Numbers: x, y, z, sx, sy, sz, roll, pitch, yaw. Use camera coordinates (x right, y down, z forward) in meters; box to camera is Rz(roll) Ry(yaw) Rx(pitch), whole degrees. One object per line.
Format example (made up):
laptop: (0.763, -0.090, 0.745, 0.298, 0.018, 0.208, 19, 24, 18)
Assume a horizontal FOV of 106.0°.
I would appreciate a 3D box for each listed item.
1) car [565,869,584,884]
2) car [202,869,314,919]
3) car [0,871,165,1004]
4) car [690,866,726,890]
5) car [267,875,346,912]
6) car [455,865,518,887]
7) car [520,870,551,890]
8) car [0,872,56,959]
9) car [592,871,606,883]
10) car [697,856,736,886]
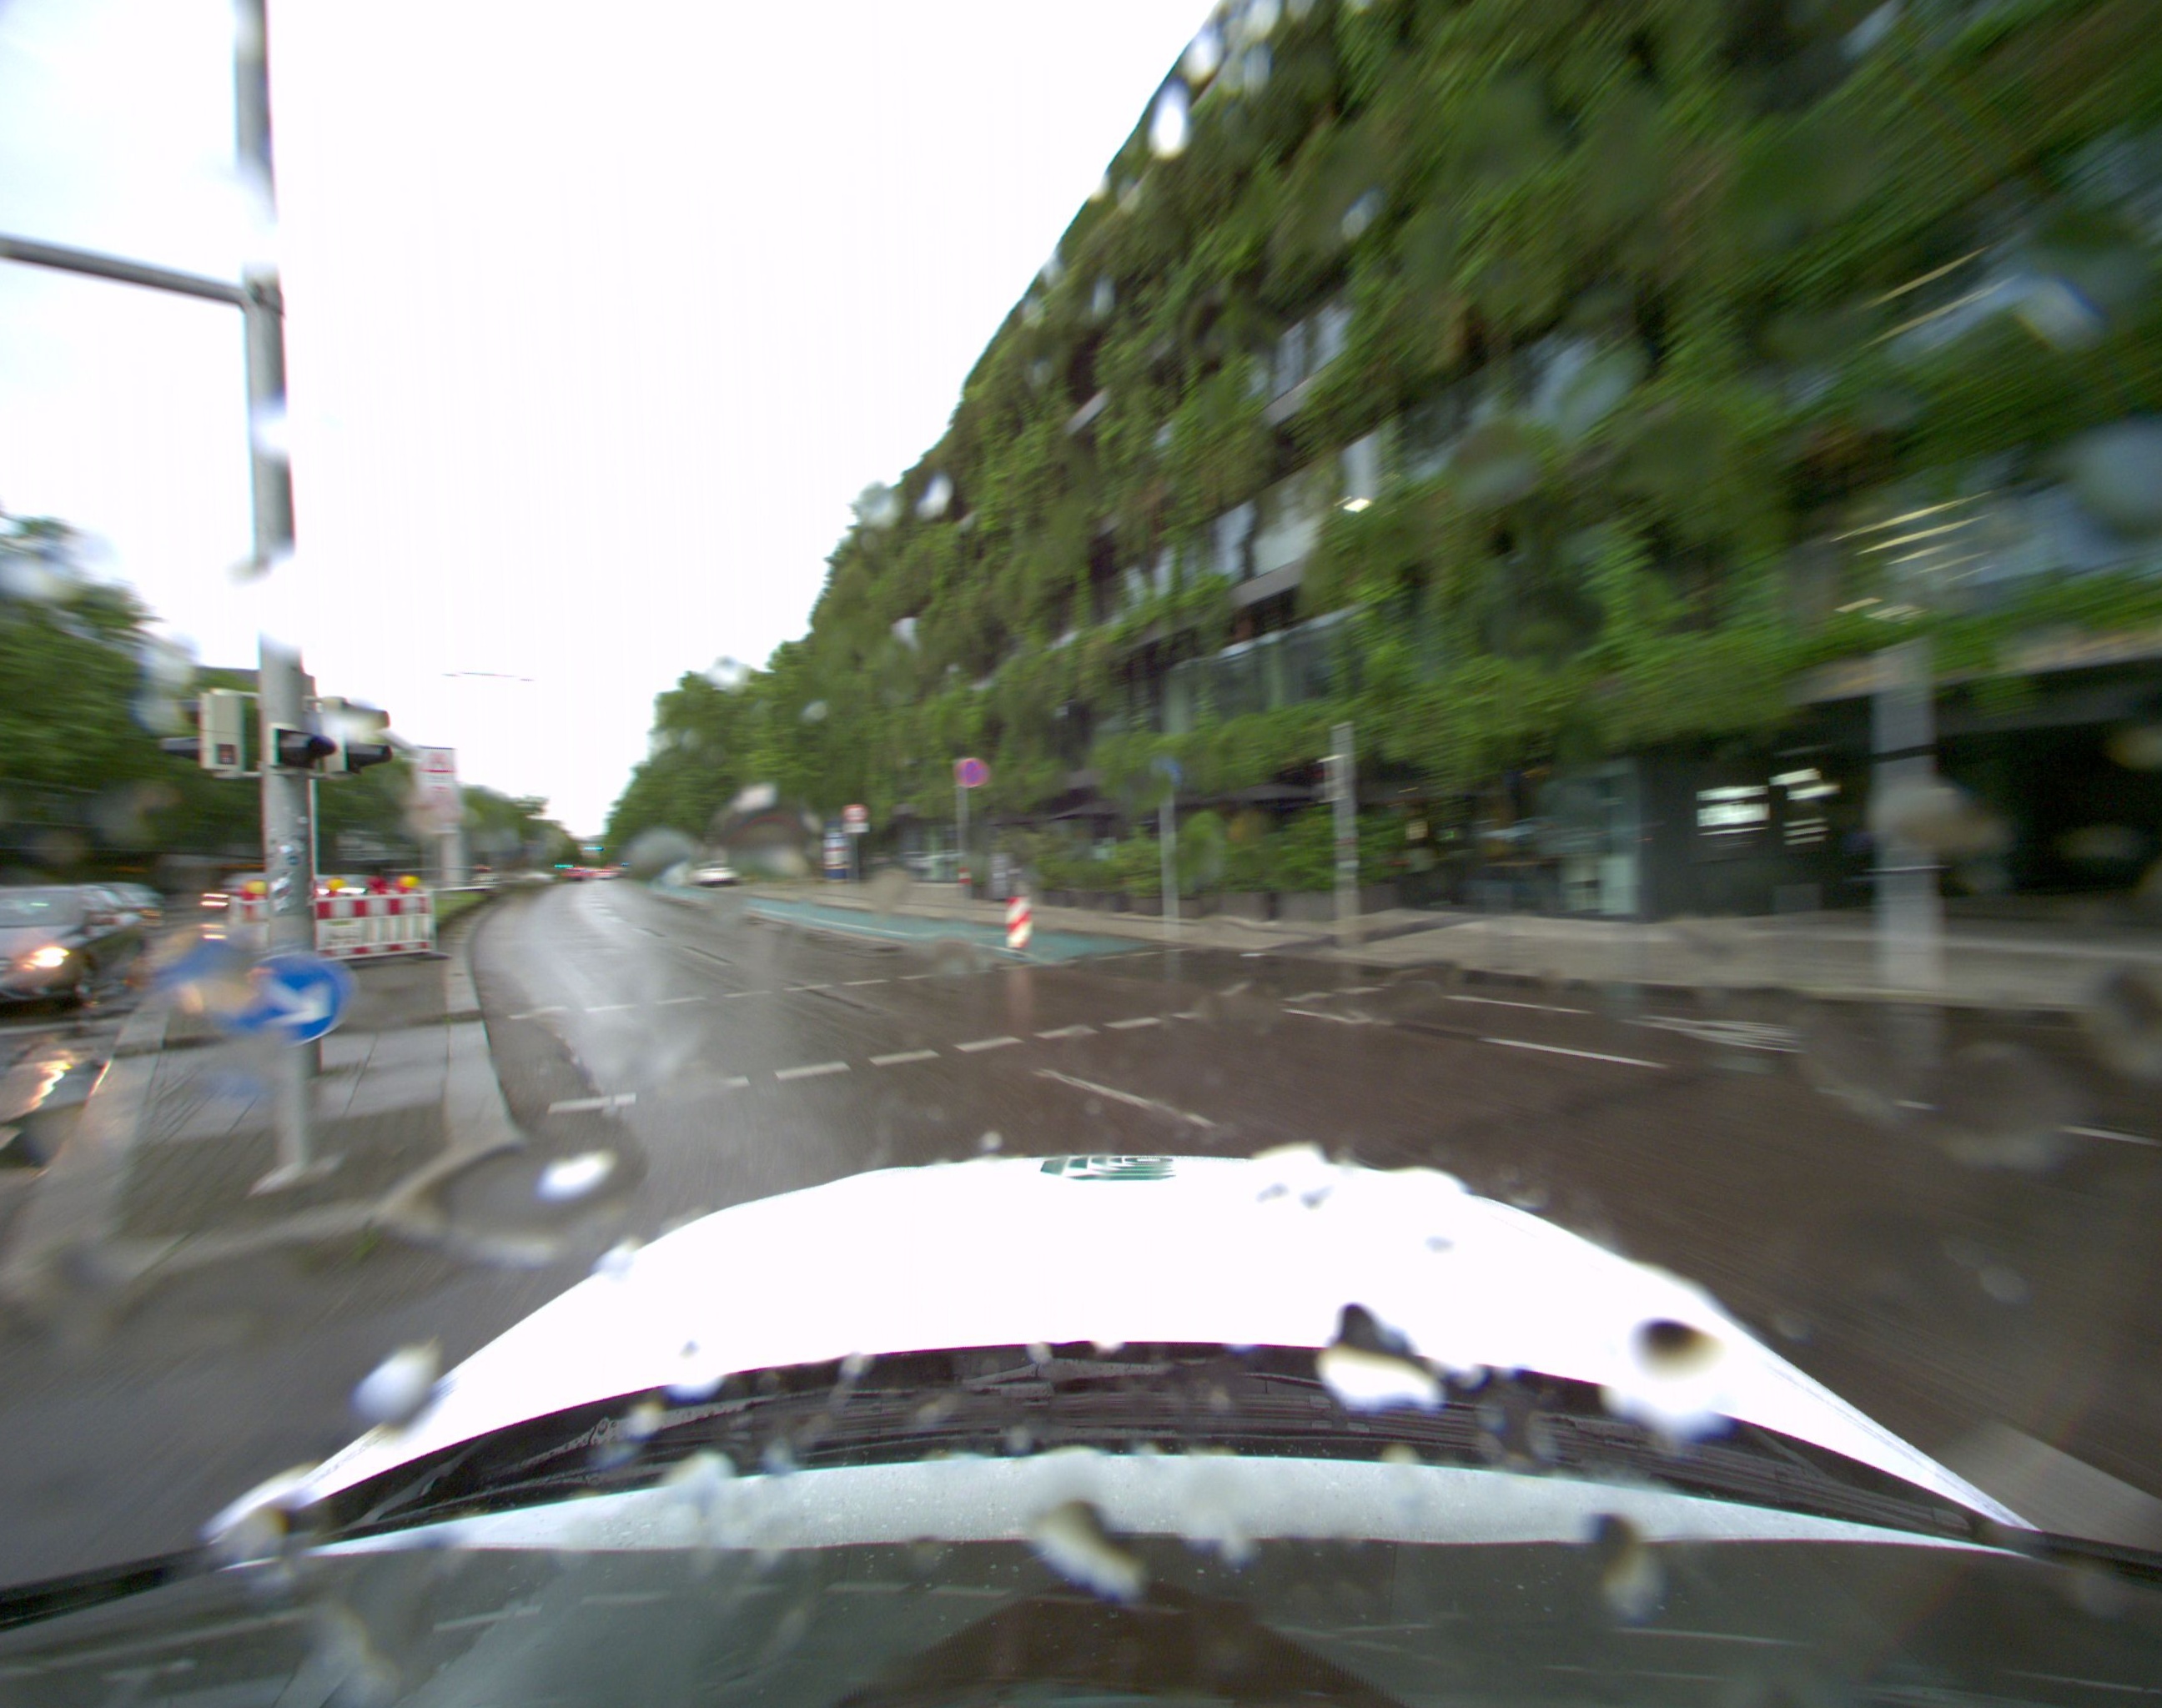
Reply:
car: (-53.936, 2.349, 86.667, 1.632, 1.471, 3.958, -1, 0, -33)
car: (-32.984, 1.522, 32.833, 1.847, 1.766, 5.060, -1, 0, -30)
car: (-13.910, 1.005, 10.667, 1.859, 1.482, 4.116, -1, 0, -39)
car: (-27.885, 1.764, 60.770, 1.856, 1.632, 4.738, -1, 0, -32)
car: (-37.543, 1.850, 39.594, 1.746, 1.573, 4.783, -1, 0, -31)
car: (-51.606, 1.917, 70.765, 4.198, 1.789, 2.005, -1, -1, 9)
car: (-48.598, 2.259, 72.606, 2.007, 1.655, 4.839, -1, 0, -32)
car: (-21.818, 1.217, 15.302, 1.891, 1.685, 4.746, -1, 0, -35)
car: (-69.583, 3.320, 117.472, 1.631, 1.666, 3.960, -3, 1, -32)
car: (-24.652, 1.116, 54.928, 1.855, 1.838, 5.045, -3, 1, -30)
